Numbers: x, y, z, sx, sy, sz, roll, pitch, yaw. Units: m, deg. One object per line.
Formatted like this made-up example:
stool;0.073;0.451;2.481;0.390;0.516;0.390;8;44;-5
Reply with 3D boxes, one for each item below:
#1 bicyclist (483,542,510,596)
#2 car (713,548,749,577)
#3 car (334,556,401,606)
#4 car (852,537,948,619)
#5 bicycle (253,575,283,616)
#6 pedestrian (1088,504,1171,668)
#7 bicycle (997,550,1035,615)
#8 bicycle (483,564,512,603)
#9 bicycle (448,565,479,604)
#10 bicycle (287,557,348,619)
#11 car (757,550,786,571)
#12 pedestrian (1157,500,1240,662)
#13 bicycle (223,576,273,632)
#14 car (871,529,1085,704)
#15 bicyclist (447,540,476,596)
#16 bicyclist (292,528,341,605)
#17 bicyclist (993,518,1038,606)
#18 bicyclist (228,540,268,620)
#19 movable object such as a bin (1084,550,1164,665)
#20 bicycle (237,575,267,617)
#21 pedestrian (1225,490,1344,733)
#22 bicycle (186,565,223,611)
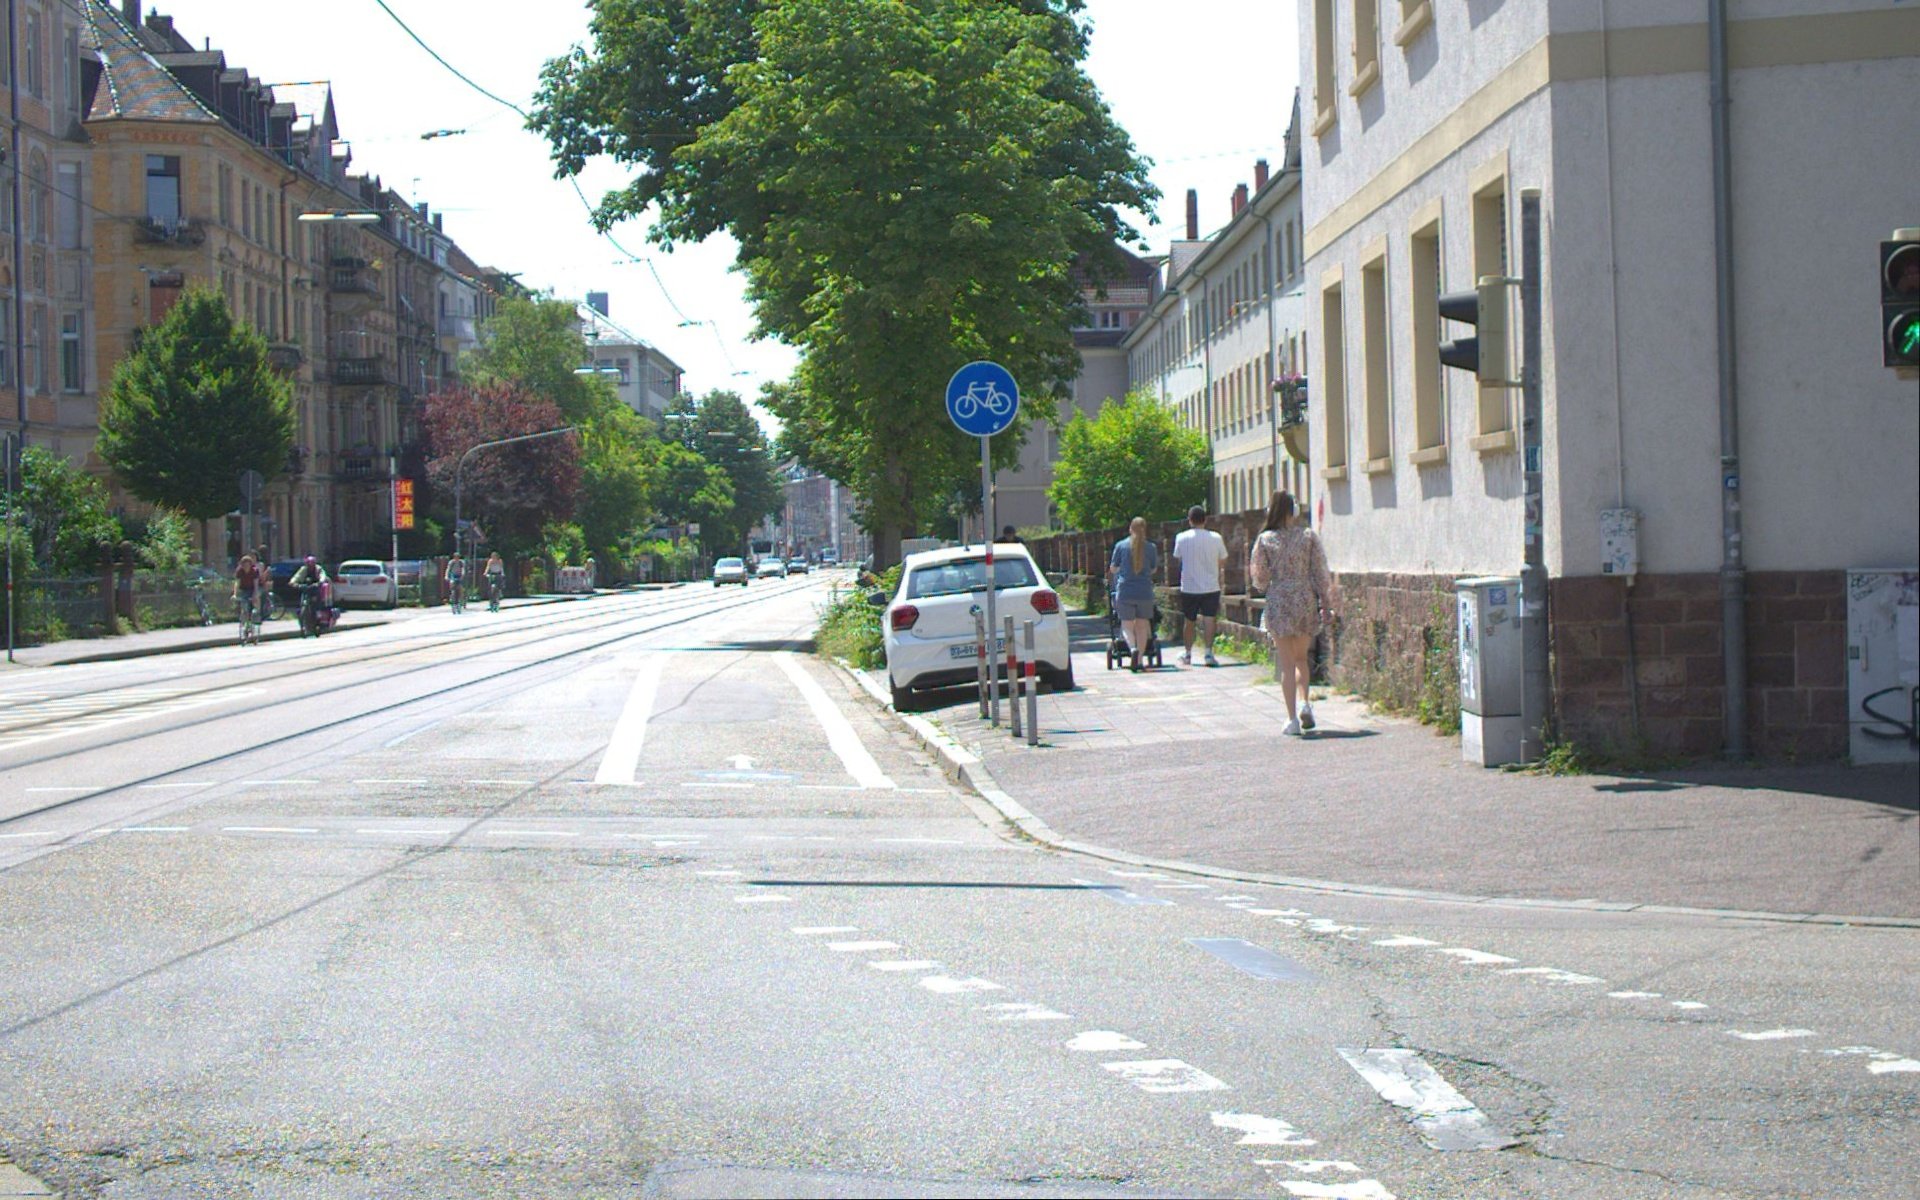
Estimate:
bicyclist;-13.473;-0.911;99.979;0.592;1.539;0.952;-2;1;-1
car;-12.053;-2.002;181.183;1.684;1.444;4.000;-2;1;-1
car;-19.185;-0.642;111.383;1.865;1.594;4.103;0;1;-6
car;-1.195;-0.450;67.187;1.656;1.510;4.001;-1;1;-4
bicycle;-17.172;-0.125;85.354;0.438;0.980;1.711;-1;1;-2
pedestrian;1.777;-0.151;36.174;0.697;1.664;0.869;-4;1;-2
bicycle;0.941;-0.304;57.669;0.602;1.047;1.822;-1;1;1
bicycle;-13.455;-0.480;99.969;0.581;1.074;1.891;-2;1;-1
bicycle;-14.437;-0.454;99.941;0.629;1.074;1.875;-2;1;-1
bicycle;-13.752;-0.263;73.604;0.807;1.267;2.551;-1;1;0
car;-13.123;-2.775;239.803;1.756;1.419;4.000;-2;1;0
pedestrian;2.540;-0.202;36.633;0.697;1.664;0.756;-4;1;-2
bicycle;-13.803;0.077;66.674;0.567;1.034;1.829;-1;1;0
car;0.113;0.117;33.200;1.777;1.405;4.157;-6;1;-2
bicyclist;-14.453;-0.925;99.625;0.634;1.579;1.028;-2;1;-1
bicyclist;-13.765;-0.725;73.556;0.807;1.624;0.980;-1;1;0
bicyclist;0.936;-0.637;57.684;0.711;1.447;1.010;-1;1;1
bicyclist;-13.807;-0.392;66.678;0.562;1.510;0.892;-1;1;0
movable object such as a bin;1.766;0.073;37.135;0.697;1.182;1.036;-4;1;-2
bicycle;-17.155;-0.096;83.313;0.438;0.980;1.711;-1;1;-2
pedestrian;2.265;0.073;24.057;0.697;1.664;0.756;-1;1;-2
bicycle;-17.164;-0.279;78.165;0.496;0.984;1.711;3;1;-3
